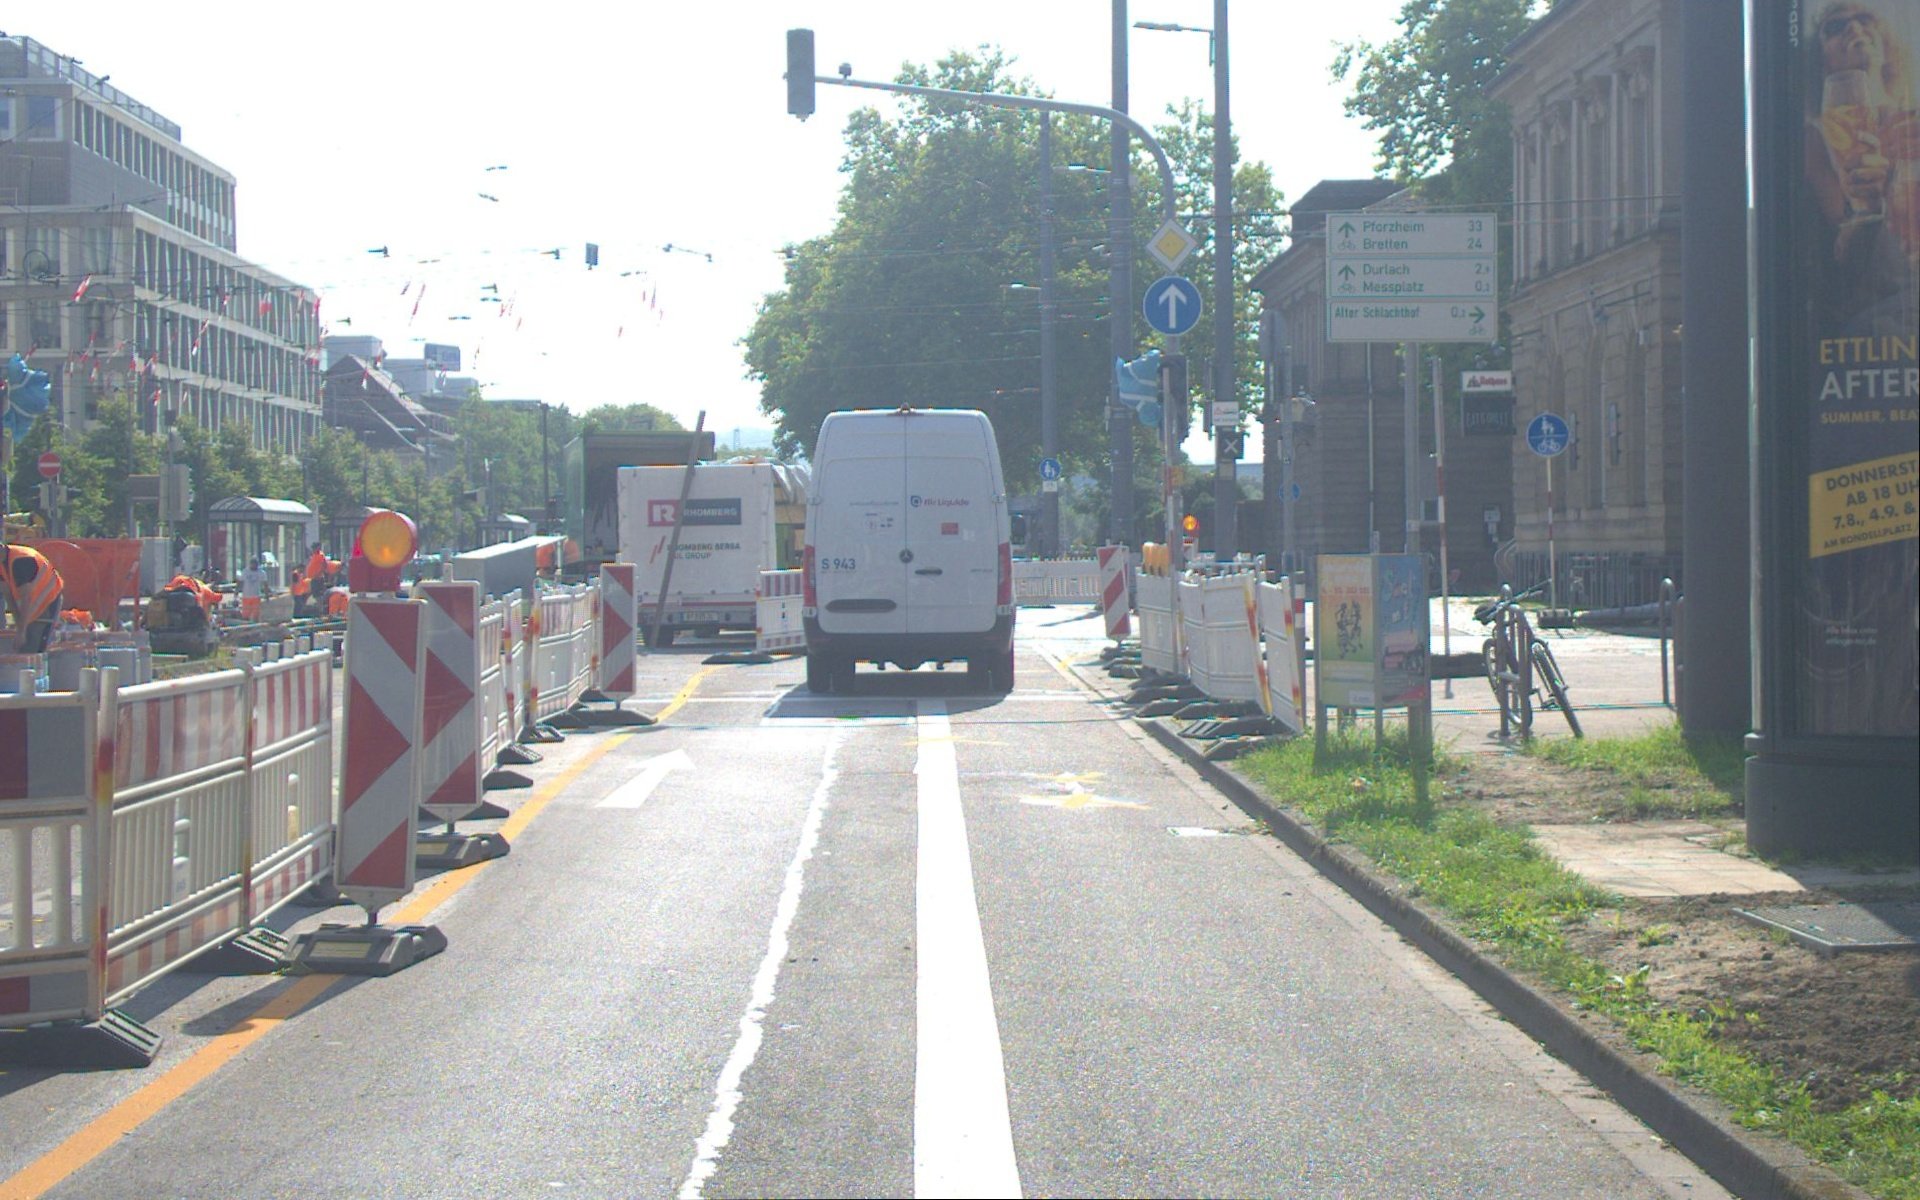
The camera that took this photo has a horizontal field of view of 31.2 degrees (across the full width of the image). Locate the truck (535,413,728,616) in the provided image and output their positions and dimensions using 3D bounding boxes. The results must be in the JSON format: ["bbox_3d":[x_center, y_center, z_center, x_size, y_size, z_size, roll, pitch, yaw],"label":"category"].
[{"bbox_3d":[-6.892,-1.747,70.952,2.791,3.899,8.421,1,1,-13],"label":"truck"}]

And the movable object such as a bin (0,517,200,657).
[{"bbox_3d":[-10.105,-0.163,40.356,1.600,1.553,3.286,-1,1,1],"label":"movable object such as a bin"}]

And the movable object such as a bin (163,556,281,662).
[{"bbox_3d":[-8.732,0.095,40.762,0.887,1.207,2.212,-1,1,1],"label":"movable object such as a bin"}]

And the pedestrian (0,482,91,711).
[{"bbox_3d":[-7.929,-0.037,29.384,0.712,1.920,0.685,-2,1,-38],"label":"pedestrian"}]

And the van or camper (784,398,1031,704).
[{"bbox_3d":[-0.543,-0.508,33.813,2.115,2.672,5.251,-3,1,-1],"label":"van or camper"}]

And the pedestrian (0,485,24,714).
[{"bbox_3d":[-8.747,-0.003,30.337,0.695,2.008,0.674,-2,1,-38],"label":"pedestrian"}]

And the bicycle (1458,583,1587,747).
[{"bbox_3d":[3.662,0.408,22.466,0.538,1.003,1.571,-2,1,-1],"label":"bicycle"}]

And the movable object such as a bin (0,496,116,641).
[{"bbox_3d":[-20.964,-0.654,74.000,3.613,2.948,8.477,1,0,-1],"label":"movable object such as a bin"}]

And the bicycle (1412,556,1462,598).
[{"bbox_3d":[12.497,-0.605,90.052,0.491,0.996,1.819,-1,3,-20],"label":"bicycle"}]

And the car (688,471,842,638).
[{"bbox_3d":[-2.975,-0.698,53.964,2.207,2.416,7.200,-1,1,-2],"label":"car"}]
